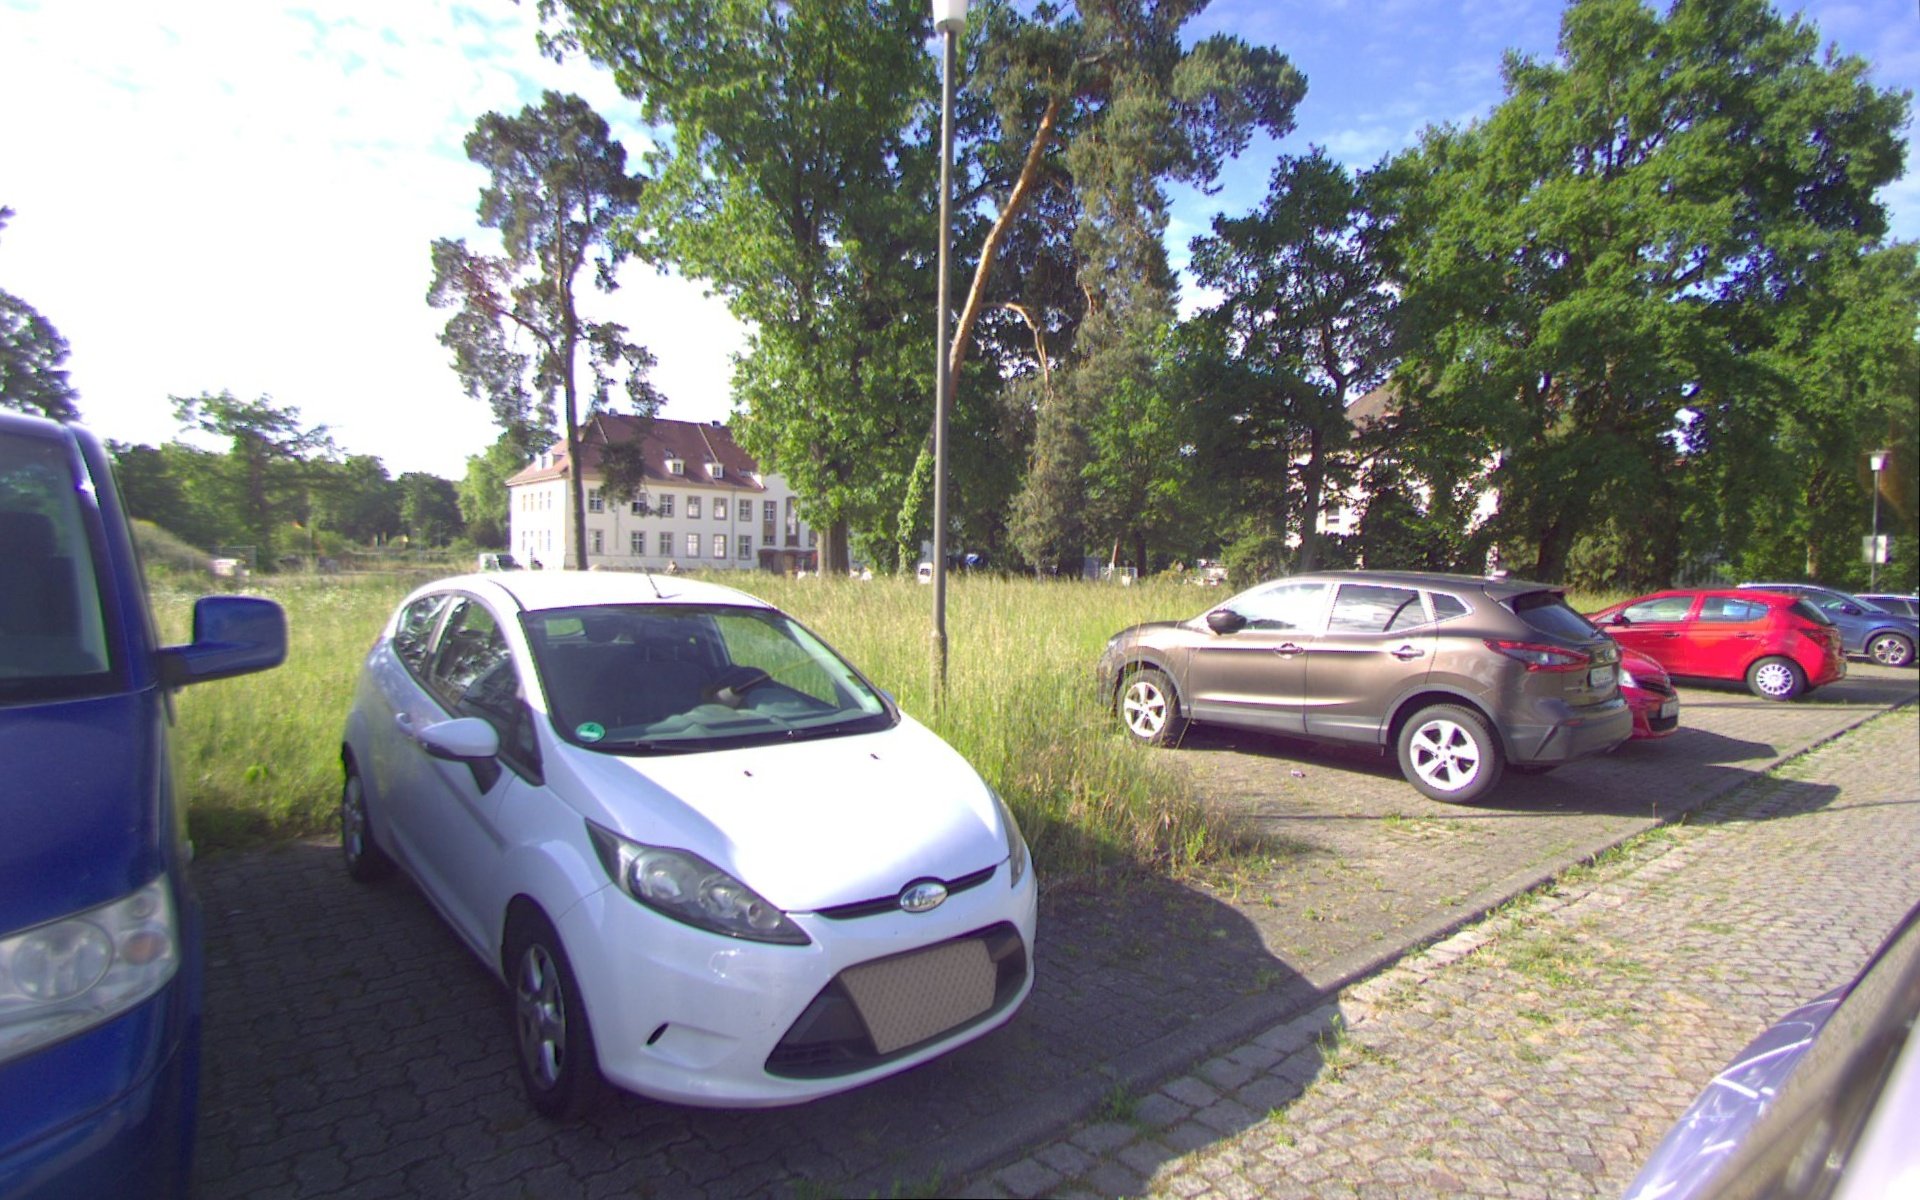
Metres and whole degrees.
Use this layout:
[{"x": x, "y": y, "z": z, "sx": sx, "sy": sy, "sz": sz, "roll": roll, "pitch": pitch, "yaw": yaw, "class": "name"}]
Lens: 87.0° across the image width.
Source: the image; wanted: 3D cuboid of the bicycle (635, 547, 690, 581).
[{"x": -18.159, "y": -2.214, "z": 61.859, "sx": 3.078, "sy": 2.038, "sz": 0.952, "roll": -3, "pitch": 3, "yaw": -42, "class": "bicycle"}]

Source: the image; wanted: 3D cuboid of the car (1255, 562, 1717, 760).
[{"x": 5.187, "y": 0.446, "z": 10.404, "sx": 1.673, "sy": 1.557, "sz": 3.835, "roll": 0, "pitch": 3, "yaw": -39, "class": "car"}]

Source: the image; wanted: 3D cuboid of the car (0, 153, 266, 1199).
[{"x": -3.290, "y": 0.294, "z": 2.707, "sx": 1.964, "sy": 2.038, "sz": 4.767, "roll": 0, "pitch": 4, "yaw": -39, "class": "car"}]

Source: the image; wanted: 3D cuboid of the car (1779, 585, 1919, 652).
[{"x": 22.335, "y": 0.422, "z": 24.345, "sx": 1.715, "sy": 1.484, "sz": 3.809, "roll": 0, "pitch": 2, "yaw": -39, "class": "car"}]

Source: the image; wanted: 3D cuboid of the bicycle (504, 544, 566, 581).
[{"x": -24.047, "y": -2.173, "z": 57.363, "sx": 3.078, "sy": 2.038, "sz": 0.952, "roll": -3, "pitch": 3, "yaw": -42, "class": "bicycle"}]

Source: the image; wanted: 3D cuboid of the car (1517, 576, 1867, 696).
[{"x": 10.778, "y": 0.427, "z": 15.146, "sx": 1.513, "sy": 1.514, "sz": 3.995, "roll": 0, "pitch": 2, "yaw": -40, "class": "car"}]

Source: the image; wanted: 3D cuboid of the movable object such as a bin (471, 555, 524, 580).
[{"x": -40.865, "y": -2.900, "z": 89.409, "sx": 5.714, "sy": 2.038, "sz": 2.092, "roll": 3, "pitch": 2, "yaw": 41, "class": "movable object such as a bin"}]

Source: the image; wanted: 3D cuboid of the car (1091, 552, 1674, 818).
[{"x": 3.240, "y": 0.451, "z": 8.438, "sx": 1.755, "sy": 1.631, "sz": 4.115, "roll": 0, "pitch": 3, "yaw": -41, "class": "car"}]

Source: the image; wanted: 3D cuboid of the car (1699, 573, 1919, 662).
[{"x": 18.583, "y": 0.315, "z": 21.566, "sx": 1.622, "sy": 1.618, "sz": 4.273, "roll": 0, "pitch": 3, "yaw": -40, "class": "car"}]

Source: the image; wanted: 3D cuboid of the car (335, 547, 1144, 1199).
[{"x": -1.251, "y": 0.587, "z": 4.130, "sx": 1.582, "sy": 1.484, "sz": 3.727, "roll": 0, "pitch": 3, "yaw": -42, "class": "car"}]
